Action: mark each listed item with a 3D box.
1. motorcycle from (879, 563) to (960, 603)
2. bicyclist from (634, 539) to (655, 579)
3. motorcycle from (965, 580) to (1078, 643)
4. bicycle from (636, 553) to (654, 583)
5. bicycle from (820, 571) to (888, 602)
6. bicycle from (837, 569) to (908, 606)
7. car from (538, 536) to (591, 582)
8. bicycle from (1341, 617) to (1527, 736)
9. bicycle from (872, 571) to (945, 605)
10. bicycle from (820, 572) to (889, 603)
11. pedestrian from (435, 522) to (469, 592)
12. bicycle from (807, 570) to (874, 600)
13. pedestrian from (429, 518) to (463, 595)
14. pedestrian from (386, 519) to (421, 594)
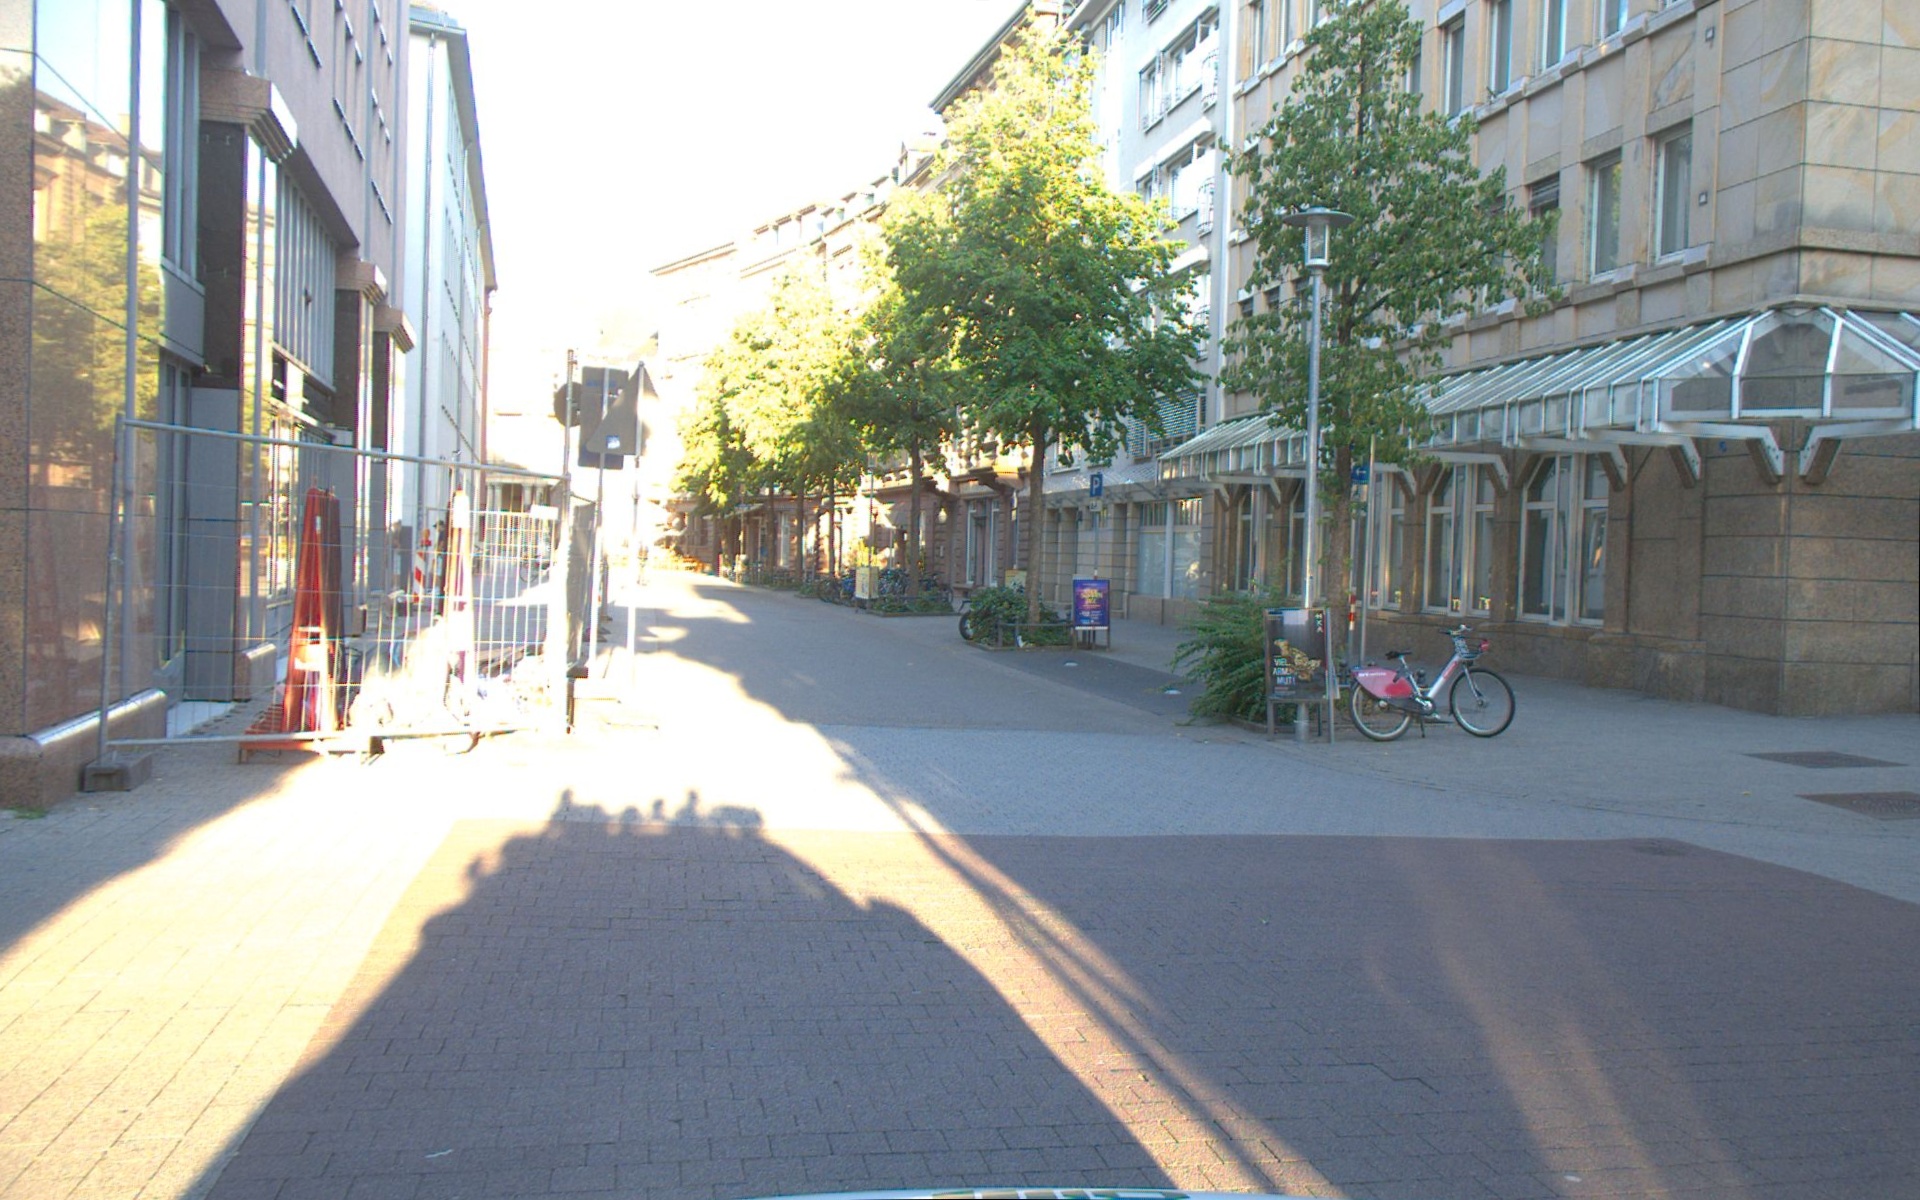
[{"bbox_3d":[-1.165,-0.485,48.106,2.450,1.114,0.583,1,1,-35],"label":"motorcycle"},{"bbox_3d":[-11.852,-1.550,62.195,0.709,1.494,0.715,1,1,-14],"label":"bicyclist"},{"bbox_3d":[1.190,0.222,31.886,2.117,1.171,0.492,1,1,-15],"label":"motorcycle"},{"bbox_3d":[-11.852,-1.202,62.227,0.578,1.114,2.153,1,1,-13],"label":"bicycle"},{"bbox_3d":[-3.462,-0.442,54.061,2.121,0.942,0.587,1,1,-20],"label":"bicycle"},{"bbox_3d":[-2.692,-0.384,50.943,2.108,1.079,0.591,1,1,2],"label":"bicycle"},{"bbox_3d":[-15.621,-1.646,65.246,1.812,1.713,3.628,1,1,-17],"label":"car"},{"bbox_3d":[4.530,0.724,15.879,1.621,1.069,0.663,-1,2,6],"label":"bicycle"},{"bbox_3d":[-1.514,-0.351,49.143,2.128,0.942,0.585,1,1,-28],"label":"bicycle"},{"bbox_3d":[-3.386,-0.404,53.082,2.121,0.942,0.587,1,1,-20],"label":"bicycle"},{"bbox_3d":[-12.318,-1.043,40.126,0.642,1.680,0.633,1,1,-8],"label":"pedestrian"},{"bbox_3d":[-3.969,-0.488,54.969,2.121,0.942,0.587,1,1,-20],"label":"bicycle"},{"bbox_3d":[-12.286,-1.037,39.573,0.642,1.794,0.633,1,1,-8],"label":"pedestrian"},{"bbox_3d":[-13.265,-1.029,39.401,0.642,1.755,0.633,1,1,-8],"label":"pedestrian"}]
